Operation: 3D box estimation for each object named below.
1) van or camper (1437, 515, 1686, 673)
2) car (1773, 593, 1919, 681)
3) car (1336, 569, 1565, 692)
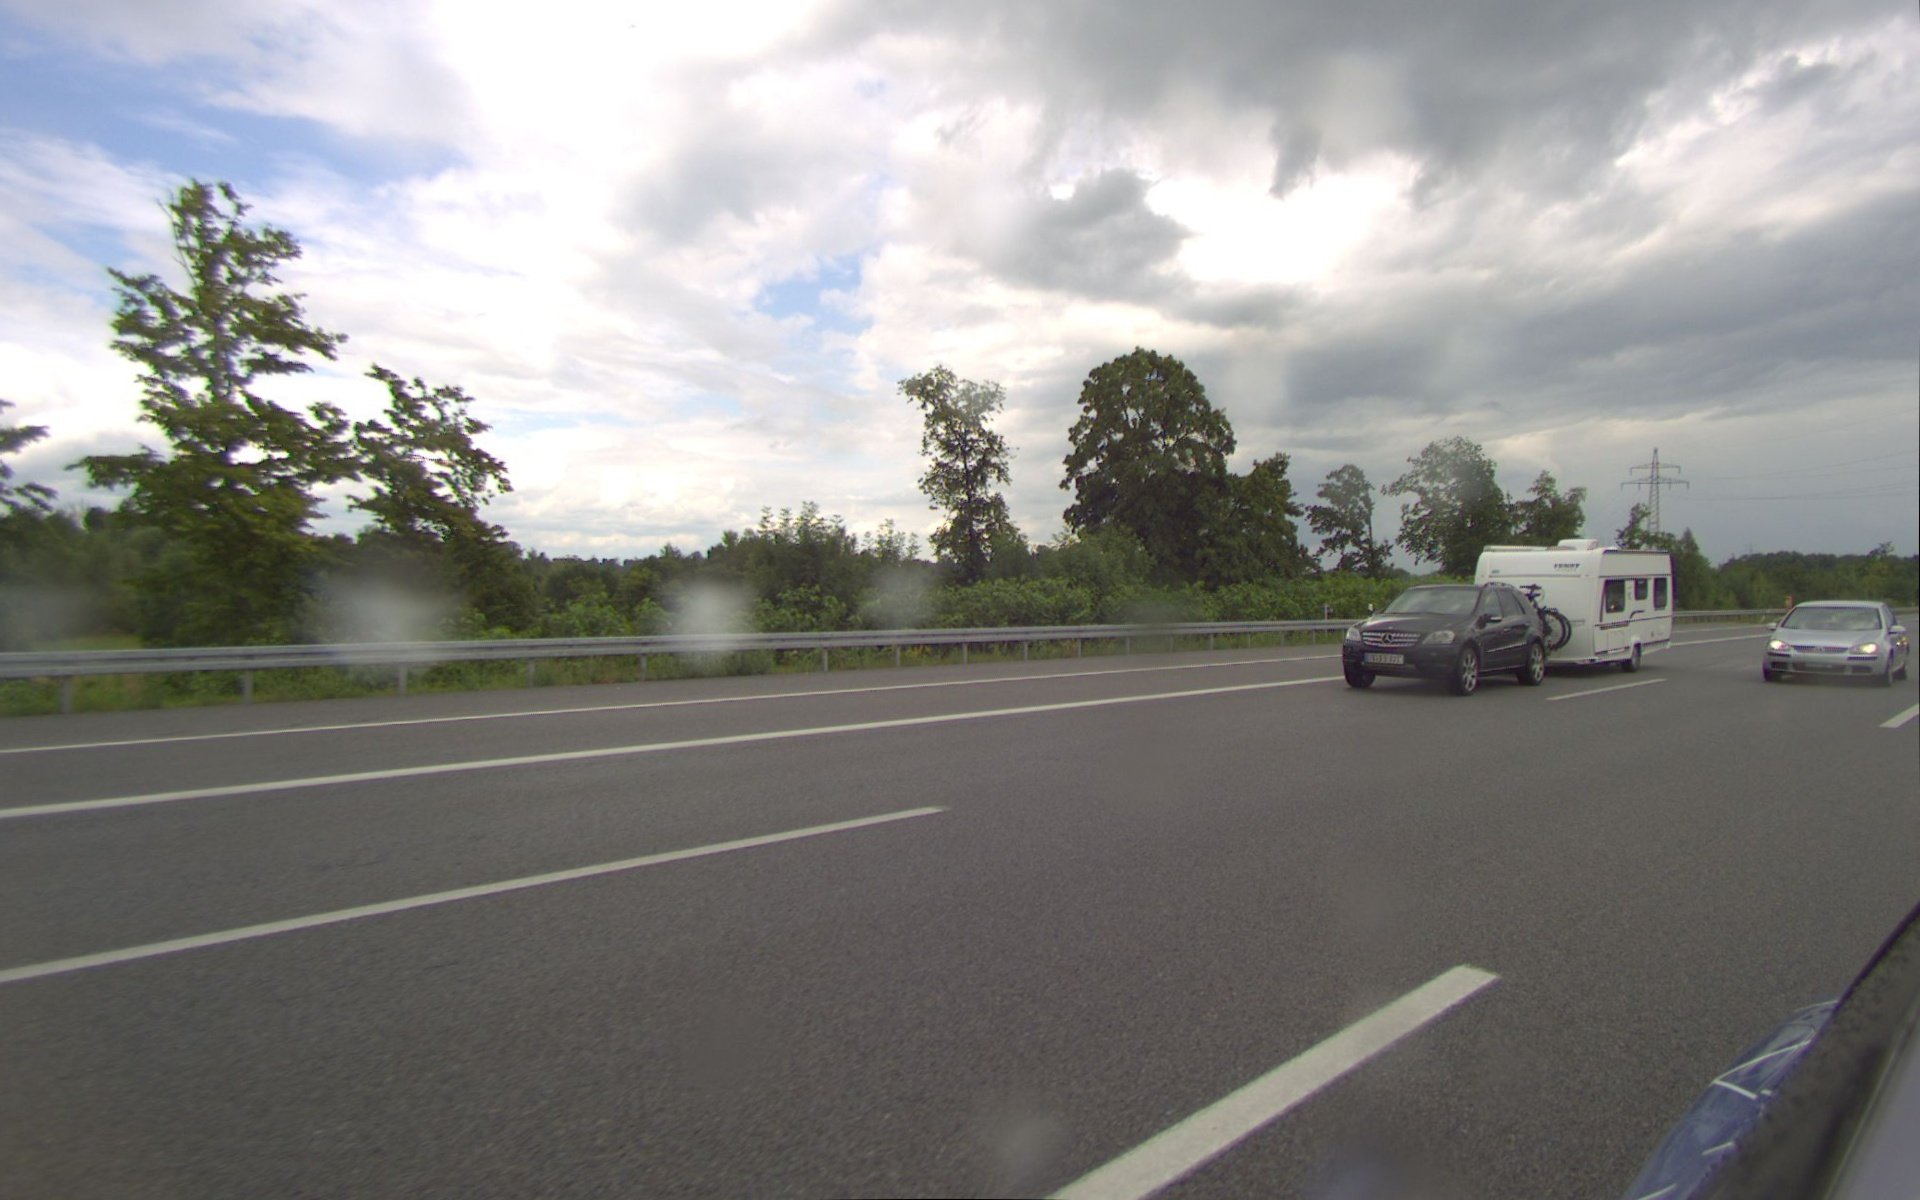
[{"bbox_3d":[12.616,-0.121,20.926,7.084,2.773,2.387,0,0,-42],"label":"van or camper"},{"bbox_3d":[16.521,0.600,18.732,3.931,1.464,1.682,0,0,-42],"label":"car"},{"bbox_3d":[8.325,0.434,17.008,4.424,1.798,1.923,0,0,-42],"label":"car"}]
